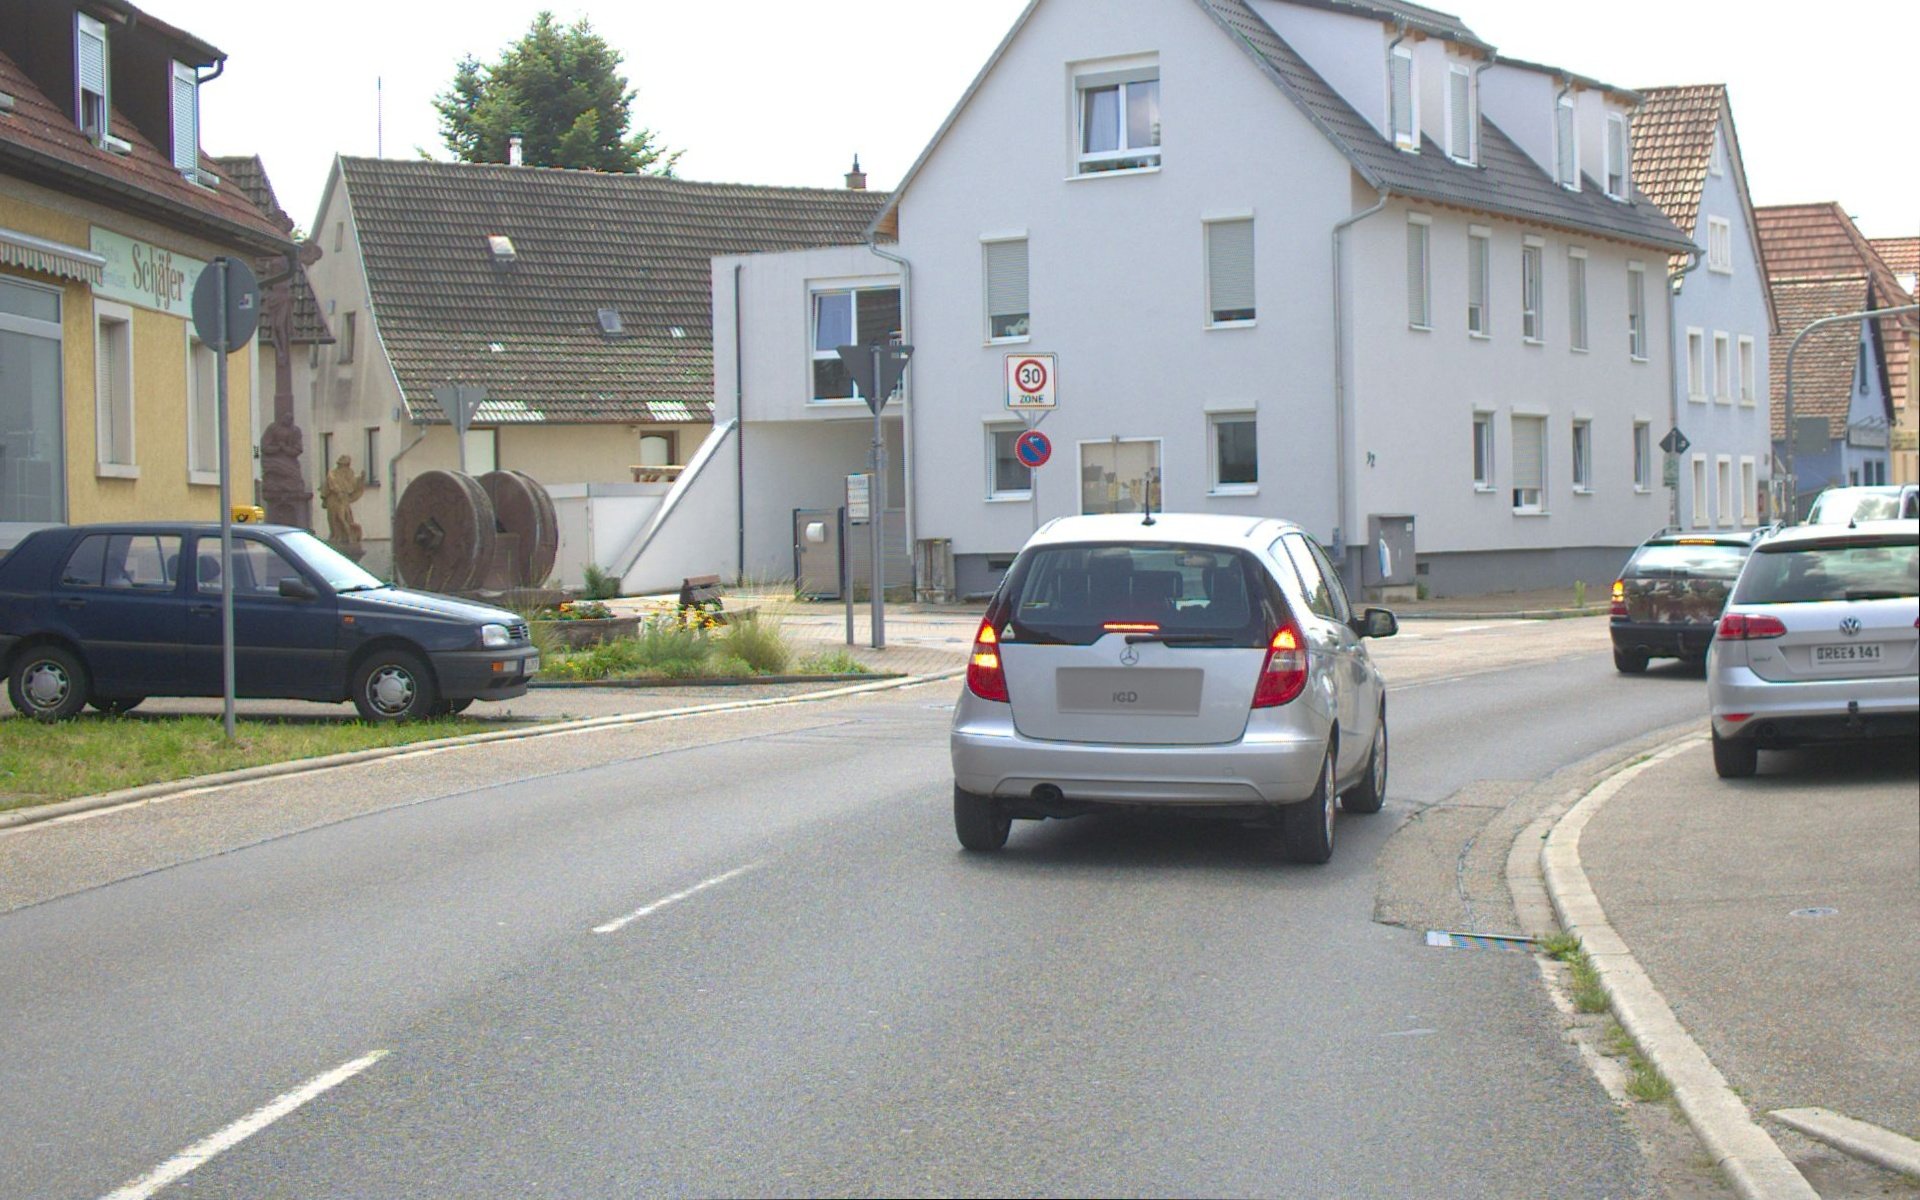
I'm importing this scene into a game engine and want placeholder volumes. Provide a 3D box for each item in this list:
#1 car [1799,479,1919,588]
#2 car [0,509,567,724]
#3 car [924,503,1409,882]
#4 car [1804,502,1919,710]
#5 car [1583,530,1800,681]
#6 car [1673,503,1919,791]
[{"bbox_3d":[16.084,-1.128,60.034,1.996,1.793,4.930,0,0,23],"label":"car"},{"bbox_3d":[-4.941,0.094,24.742,3.967,1.459,1.721,0,1,3],"label":"car"},{"bbox_3d":[1.143,0.358,17.133,1.811,1.638,3.727,1,2,13],"label":"car"},{"bbox_3d":[7.625,0.049,27.053,1.886,1.525,3.997,0,0,14],"label":"car"},{"bbox_3d":[7.374,0.052,34.413,1.751,1.411,3.996,0,0,17],"label":"car"},{"bbox_3d":[5.493,0.212,20.952,1.886,1.525,4.332,-3,0,16],"label":"car"}]
